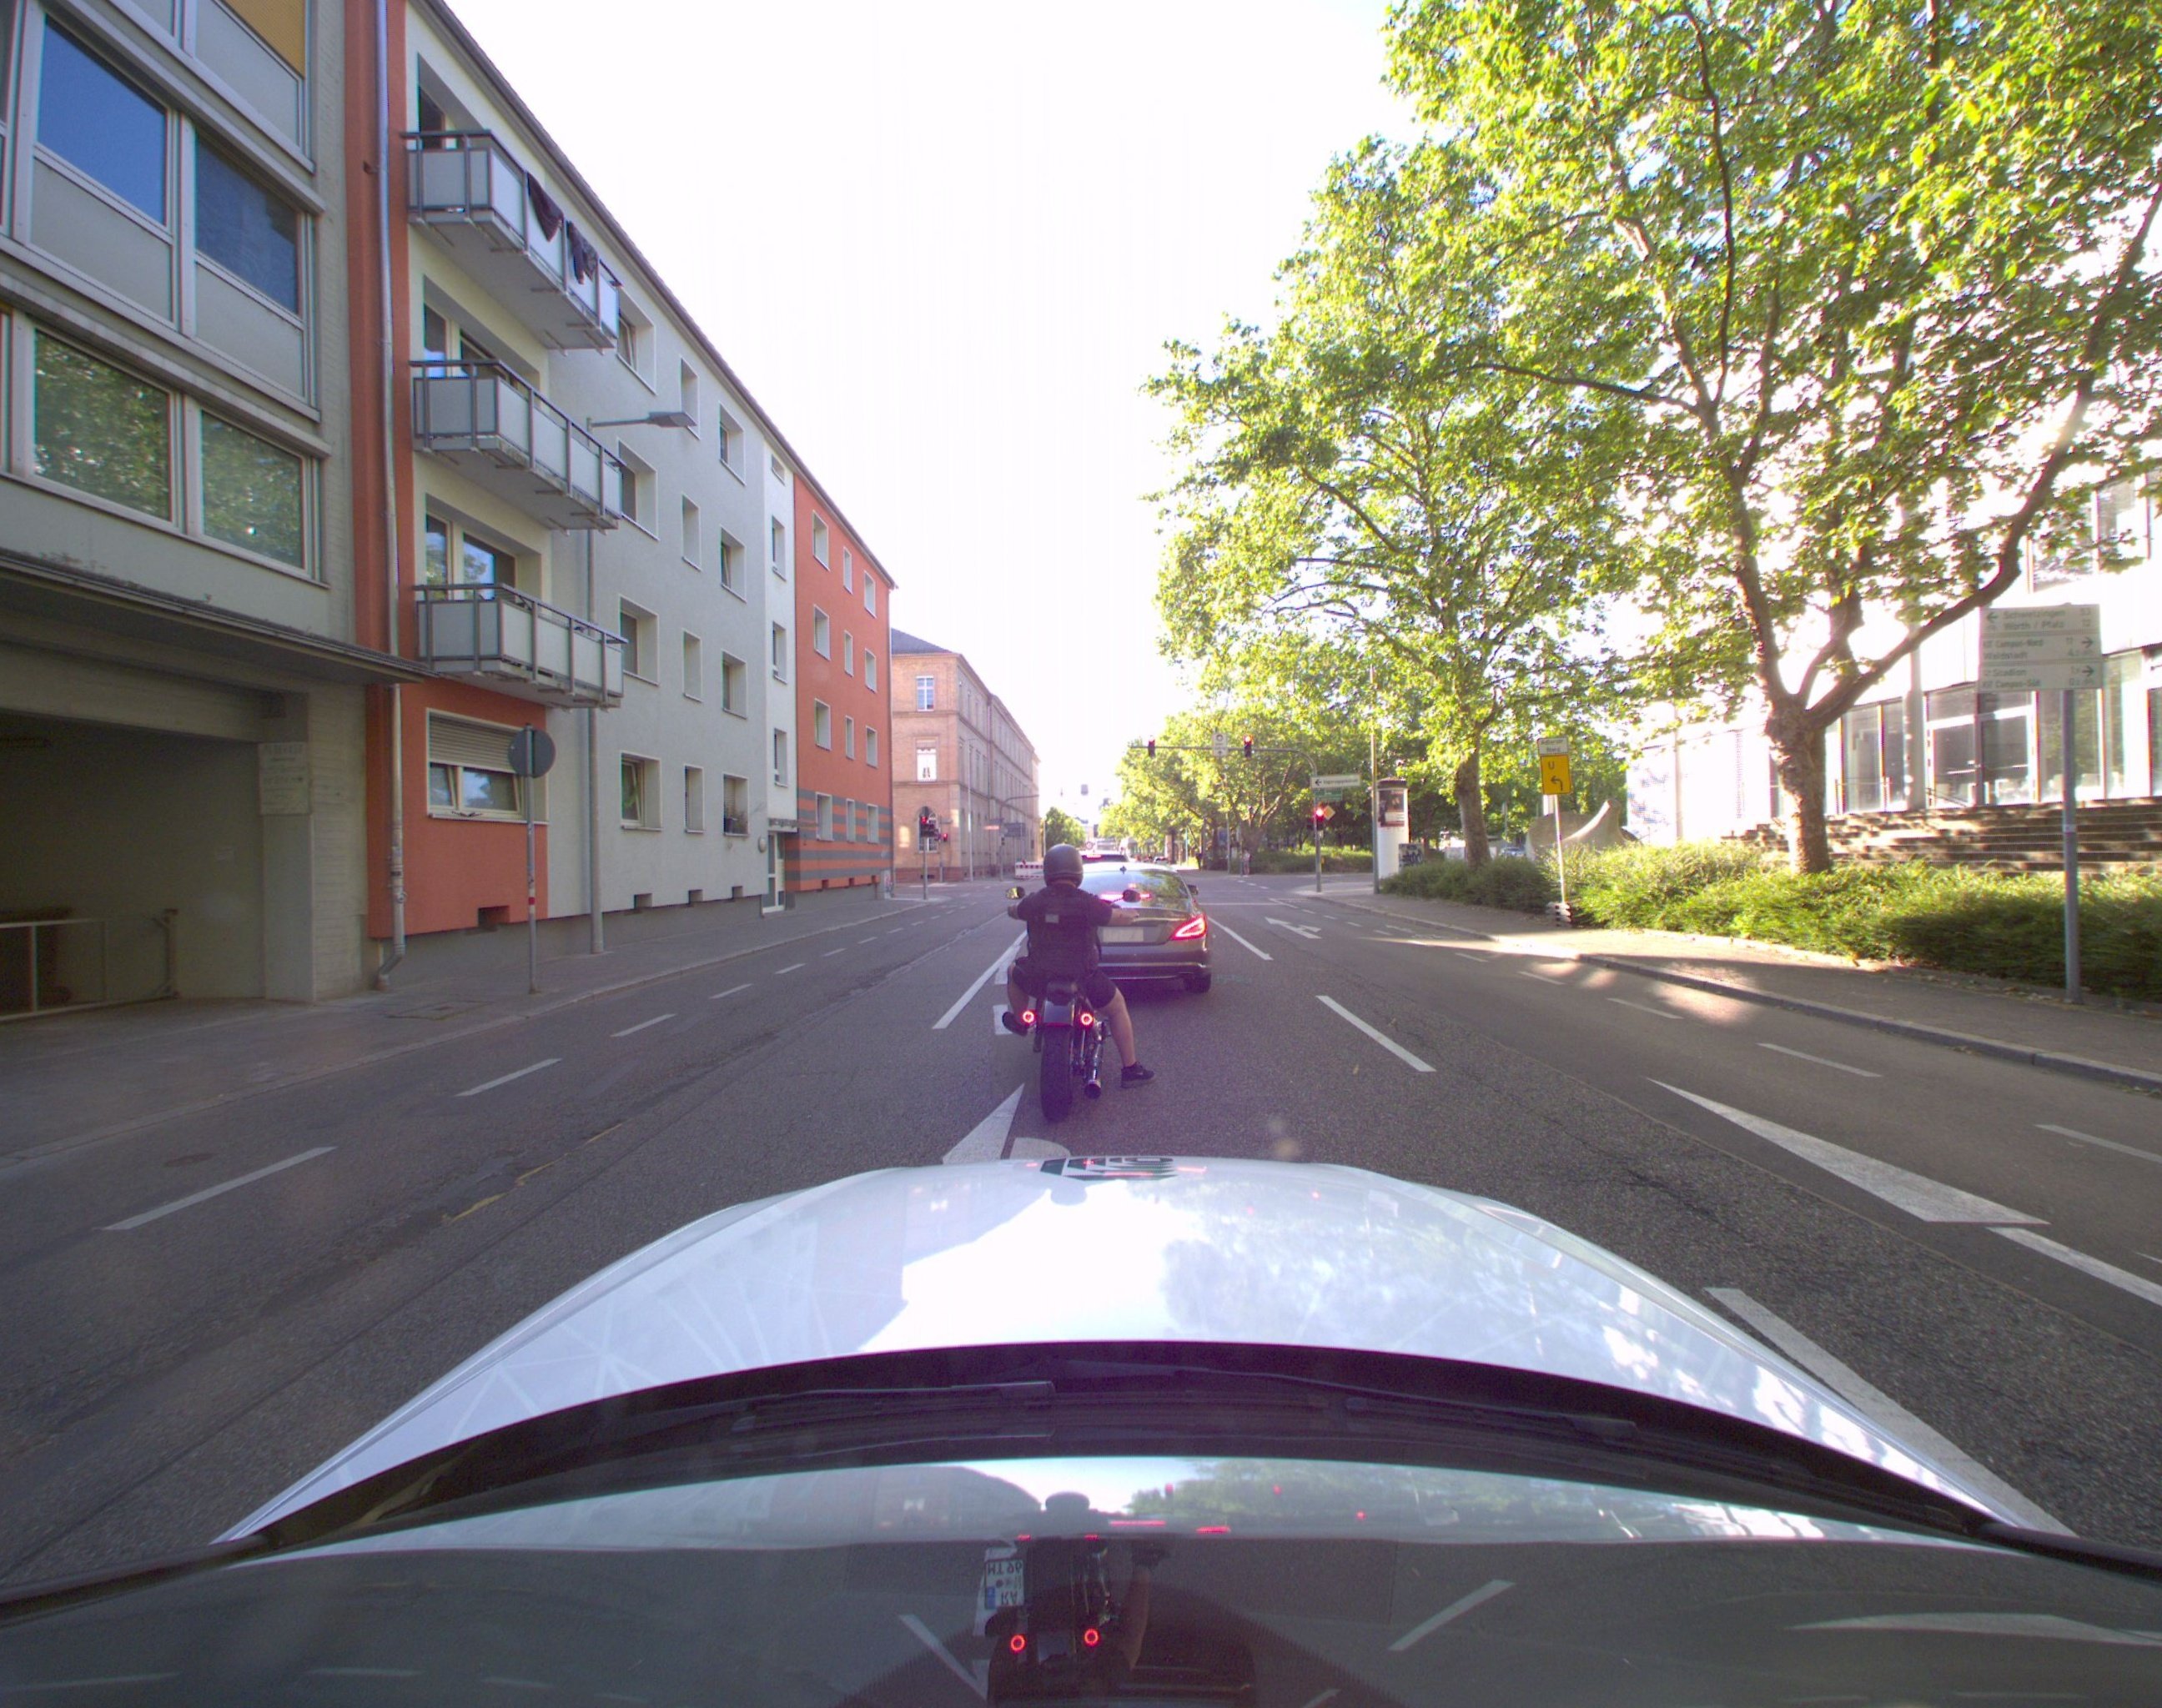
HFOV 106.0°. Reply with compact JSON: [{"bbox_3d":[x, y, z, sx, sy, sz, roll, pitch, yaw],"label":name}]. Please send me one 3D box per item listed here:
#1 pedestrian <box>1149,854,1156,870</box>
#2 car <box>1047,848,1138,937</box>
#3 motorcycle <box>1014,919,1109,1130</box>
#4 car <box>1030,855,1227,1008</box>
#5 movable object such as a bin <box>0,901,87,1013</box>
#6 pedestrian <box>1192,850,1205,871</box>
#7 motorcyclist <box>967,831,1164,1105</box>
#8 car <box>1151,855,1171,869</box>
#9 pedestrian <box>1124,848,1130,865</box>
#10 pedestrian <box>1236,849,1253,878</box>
[{"bbox_3d":[9.100,0.992,104.308,0.811,2.014,1.271,0,-1,2],"label":"pedestrian"},{"bbox_3d":[0.277,0.697,16.855,1.615,1.594,4.002,-1,0,2],"label":"car"},{"bbox_3d":[-0.075,1.008,5.436,0.511,1.002,2.014,0,-1,2],"label":"motorcycle"},{"bbox_3d":[0.518,0.743,9.727,1.875,1.449,3.821,0,0,2],"label":"car"},{"bbox_3d":[-11.255,1.072,8.630,0.626,1.100,0.659,0,-1,4],"label":"movable object such as a bin"},{"bbox_3d":[10.489,0.592,72.489,0.753,1.910,0.918,0,-1,-26],"label":"pedestrian"},{"bbox_3d":[-0.071,0.675,5.419,1.145,1.598,1.288,0,-1,1],"label":"motorcyclist"},{"bbox_3d":[8.207,0.813,83.418,1.769,1.428,3.804,-1,0,2],"label":"car"},{"bbox_3d":[5.731,0.291,100.904,0.761,2.051,0.712,0,-1,1],"label":"pedestrian"},{"bbox_3d":[10.653,0.628,53.110,0.996,1.826,1.078,0,-1,8],"label":"pedestrian"}]
